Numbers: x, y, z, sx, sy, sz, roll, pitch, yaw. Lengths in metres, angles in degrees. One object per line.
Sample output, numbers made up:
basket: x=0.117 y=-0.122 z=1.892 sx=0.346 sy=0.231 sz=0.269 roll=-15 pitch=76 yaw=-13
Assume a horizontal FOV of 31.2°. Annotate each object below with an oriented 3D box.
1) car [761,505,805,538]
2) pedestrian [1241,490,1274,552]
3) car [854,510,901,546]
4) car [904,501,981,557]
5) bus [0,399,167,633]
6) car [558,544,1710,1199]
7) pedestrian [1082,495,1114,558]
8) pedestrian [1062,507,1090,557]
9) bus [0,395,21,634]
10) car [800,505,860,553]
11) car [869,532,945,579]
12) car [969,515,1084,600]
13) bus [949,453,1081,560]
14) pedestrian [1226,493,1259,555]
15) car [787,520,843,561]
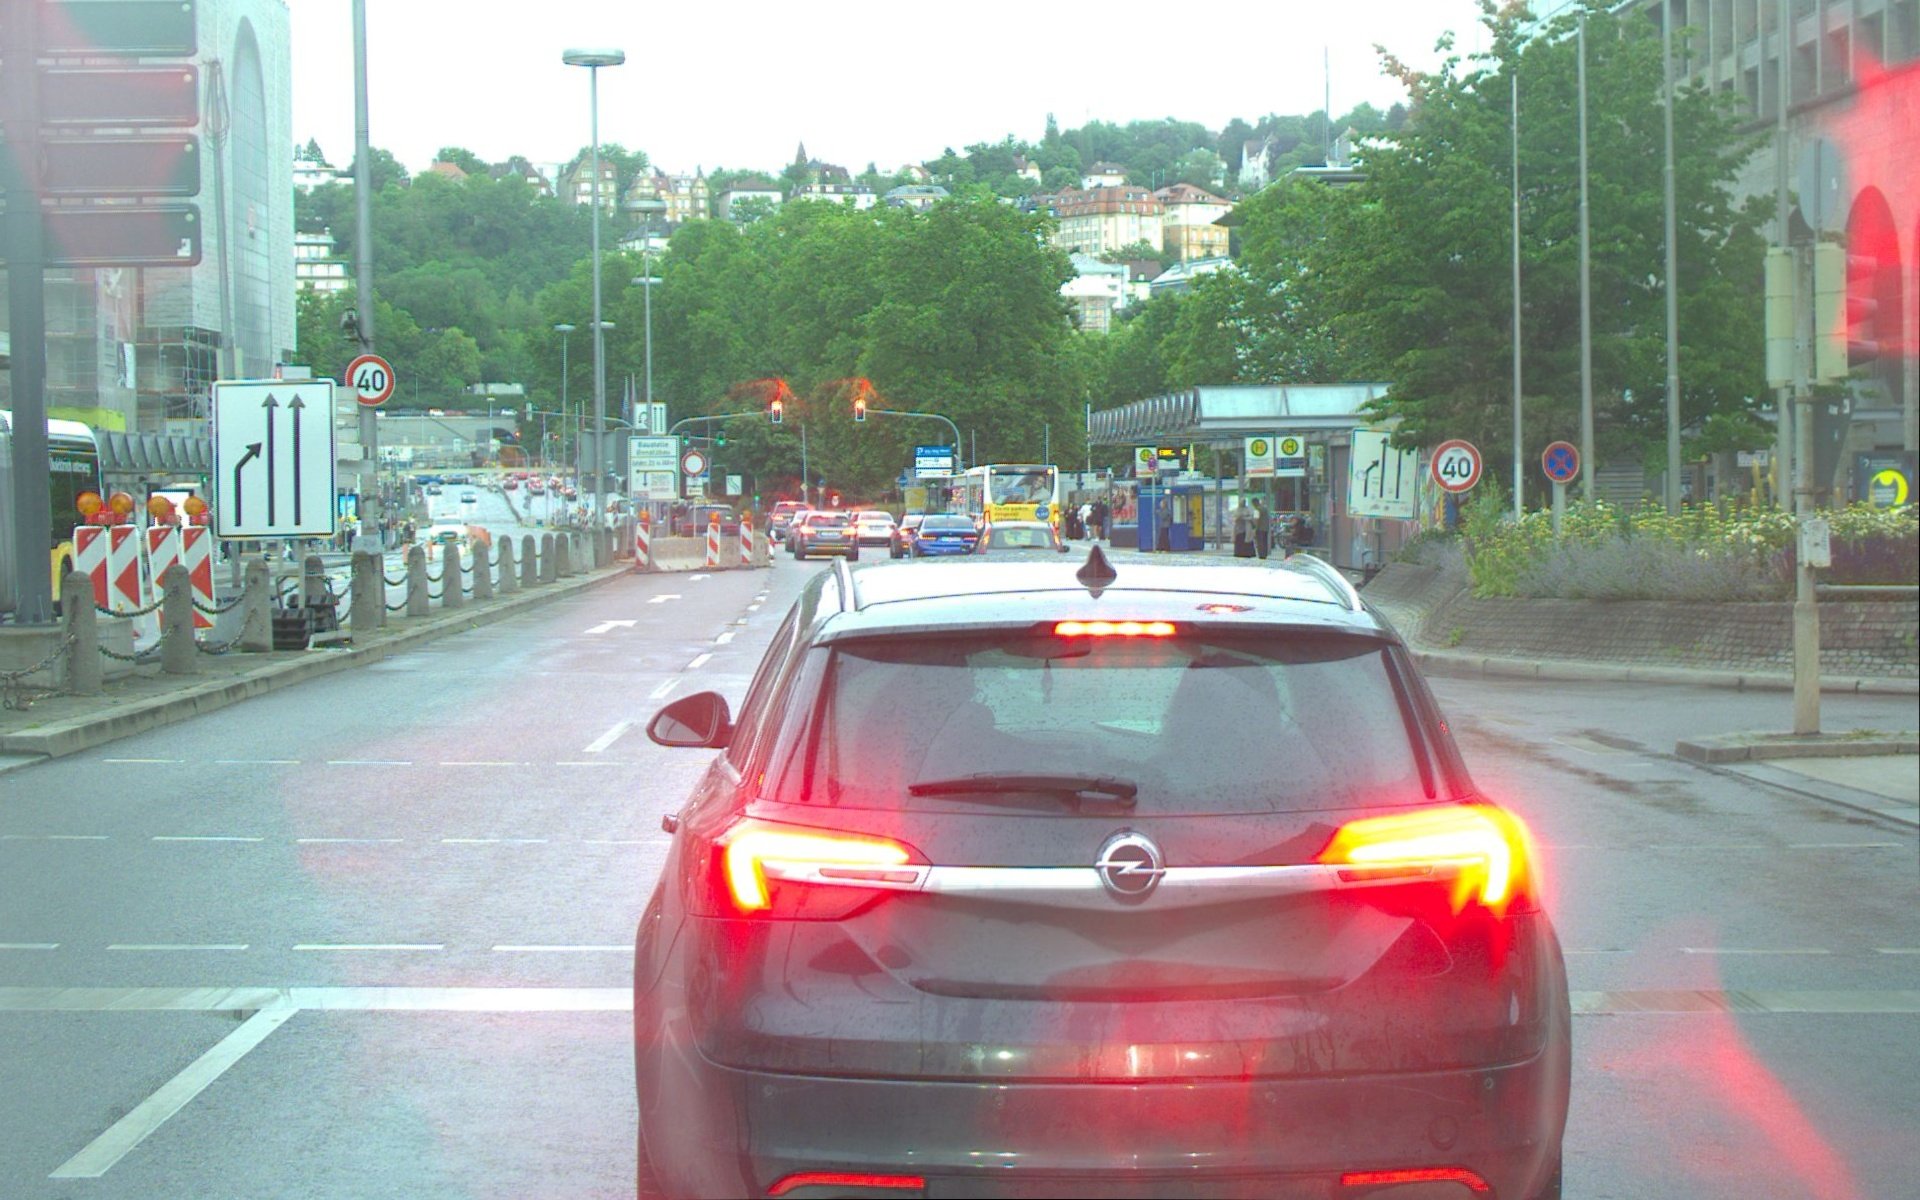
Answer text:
car: x=-7.695 y=-3.407 z=149.938 sx=1.759 sy=1.393 sz=3.564 roll=1 pitch=1 yaw=-1
pedestrian: x=8.143 y=-2.151 z=94.167 sx=0.763 sy=1.684 sz=0.825 roll=1 pitch=1 yaw=-5
car: x=-3.341 y=-2.907 z=139.733 sx=1.845 sy=1.393 sz=3.564 roll=1 pitch=1 yaw=-1
car: x=-0.492 y=-1.835 z=89.916 sx=1.753 sy=1.393 sz=4.649 roll=1 pitch=1 yaw=-3
bus: x=-15.844 y=-1.381 z=57.905 sx=2.668 sy=3.589 sz=10.212 roll=1 pitch=1 yaw=-1
car: x=0.246 y=0.636 z=7.640 sx=1.874 sy=1.481 sz=4.000 roll=1 pitch=1 yaw=-1
pedestrian: x=5.437 y=-2.900 z=135.923 sx=1.199 sy=2.427 sz=1.228 roll=1 pitch=1 yaw=1
pedestrian: x=5.049 y=-2.943 z=149.702 sx=1.199 sy=2.141 sz=1.228 roll=1 pitch=1 yaw=1
bus: x=-15.717 y=-1.245 z=47.653 sx=2.668 sy=3.589 sz=10.240 roll=1 pitch=1 yaw=-1
car: x=-3.925 y=-2.113 z=103.743 sx=1.753 sy=1.393 sz=4.538 roll=1 pitch=1 yaw=-2
car: x=-1.687 y=-1.399 z=107.706 sx=1.752 sy=1.393 sz=4.403 roll=1 pitch=1 yaw=-9
car: x=1.112 y=-0.729 z=58.896 sx=1.845 sy=1.393 sz=3.667 roll=1 pitch=1 yaw=-1
bus: x=1.789 y=-3.190 z=120.868 sx=4.173 sy=3.457 sz=14.655 roll=1 pitch=1 yaw=-1
pedestrian: x=7.841 y=-2.110 z=95.399 sx=0.763 sy=1.684 sz=0.825 roll=1 pitch=1 yaw=-5
car: x=-5.086 y=-2.077 z=120.936 sx=1.845 sy=1.393 sz=3.564 roll=1 pitch=1 yaw=-1
